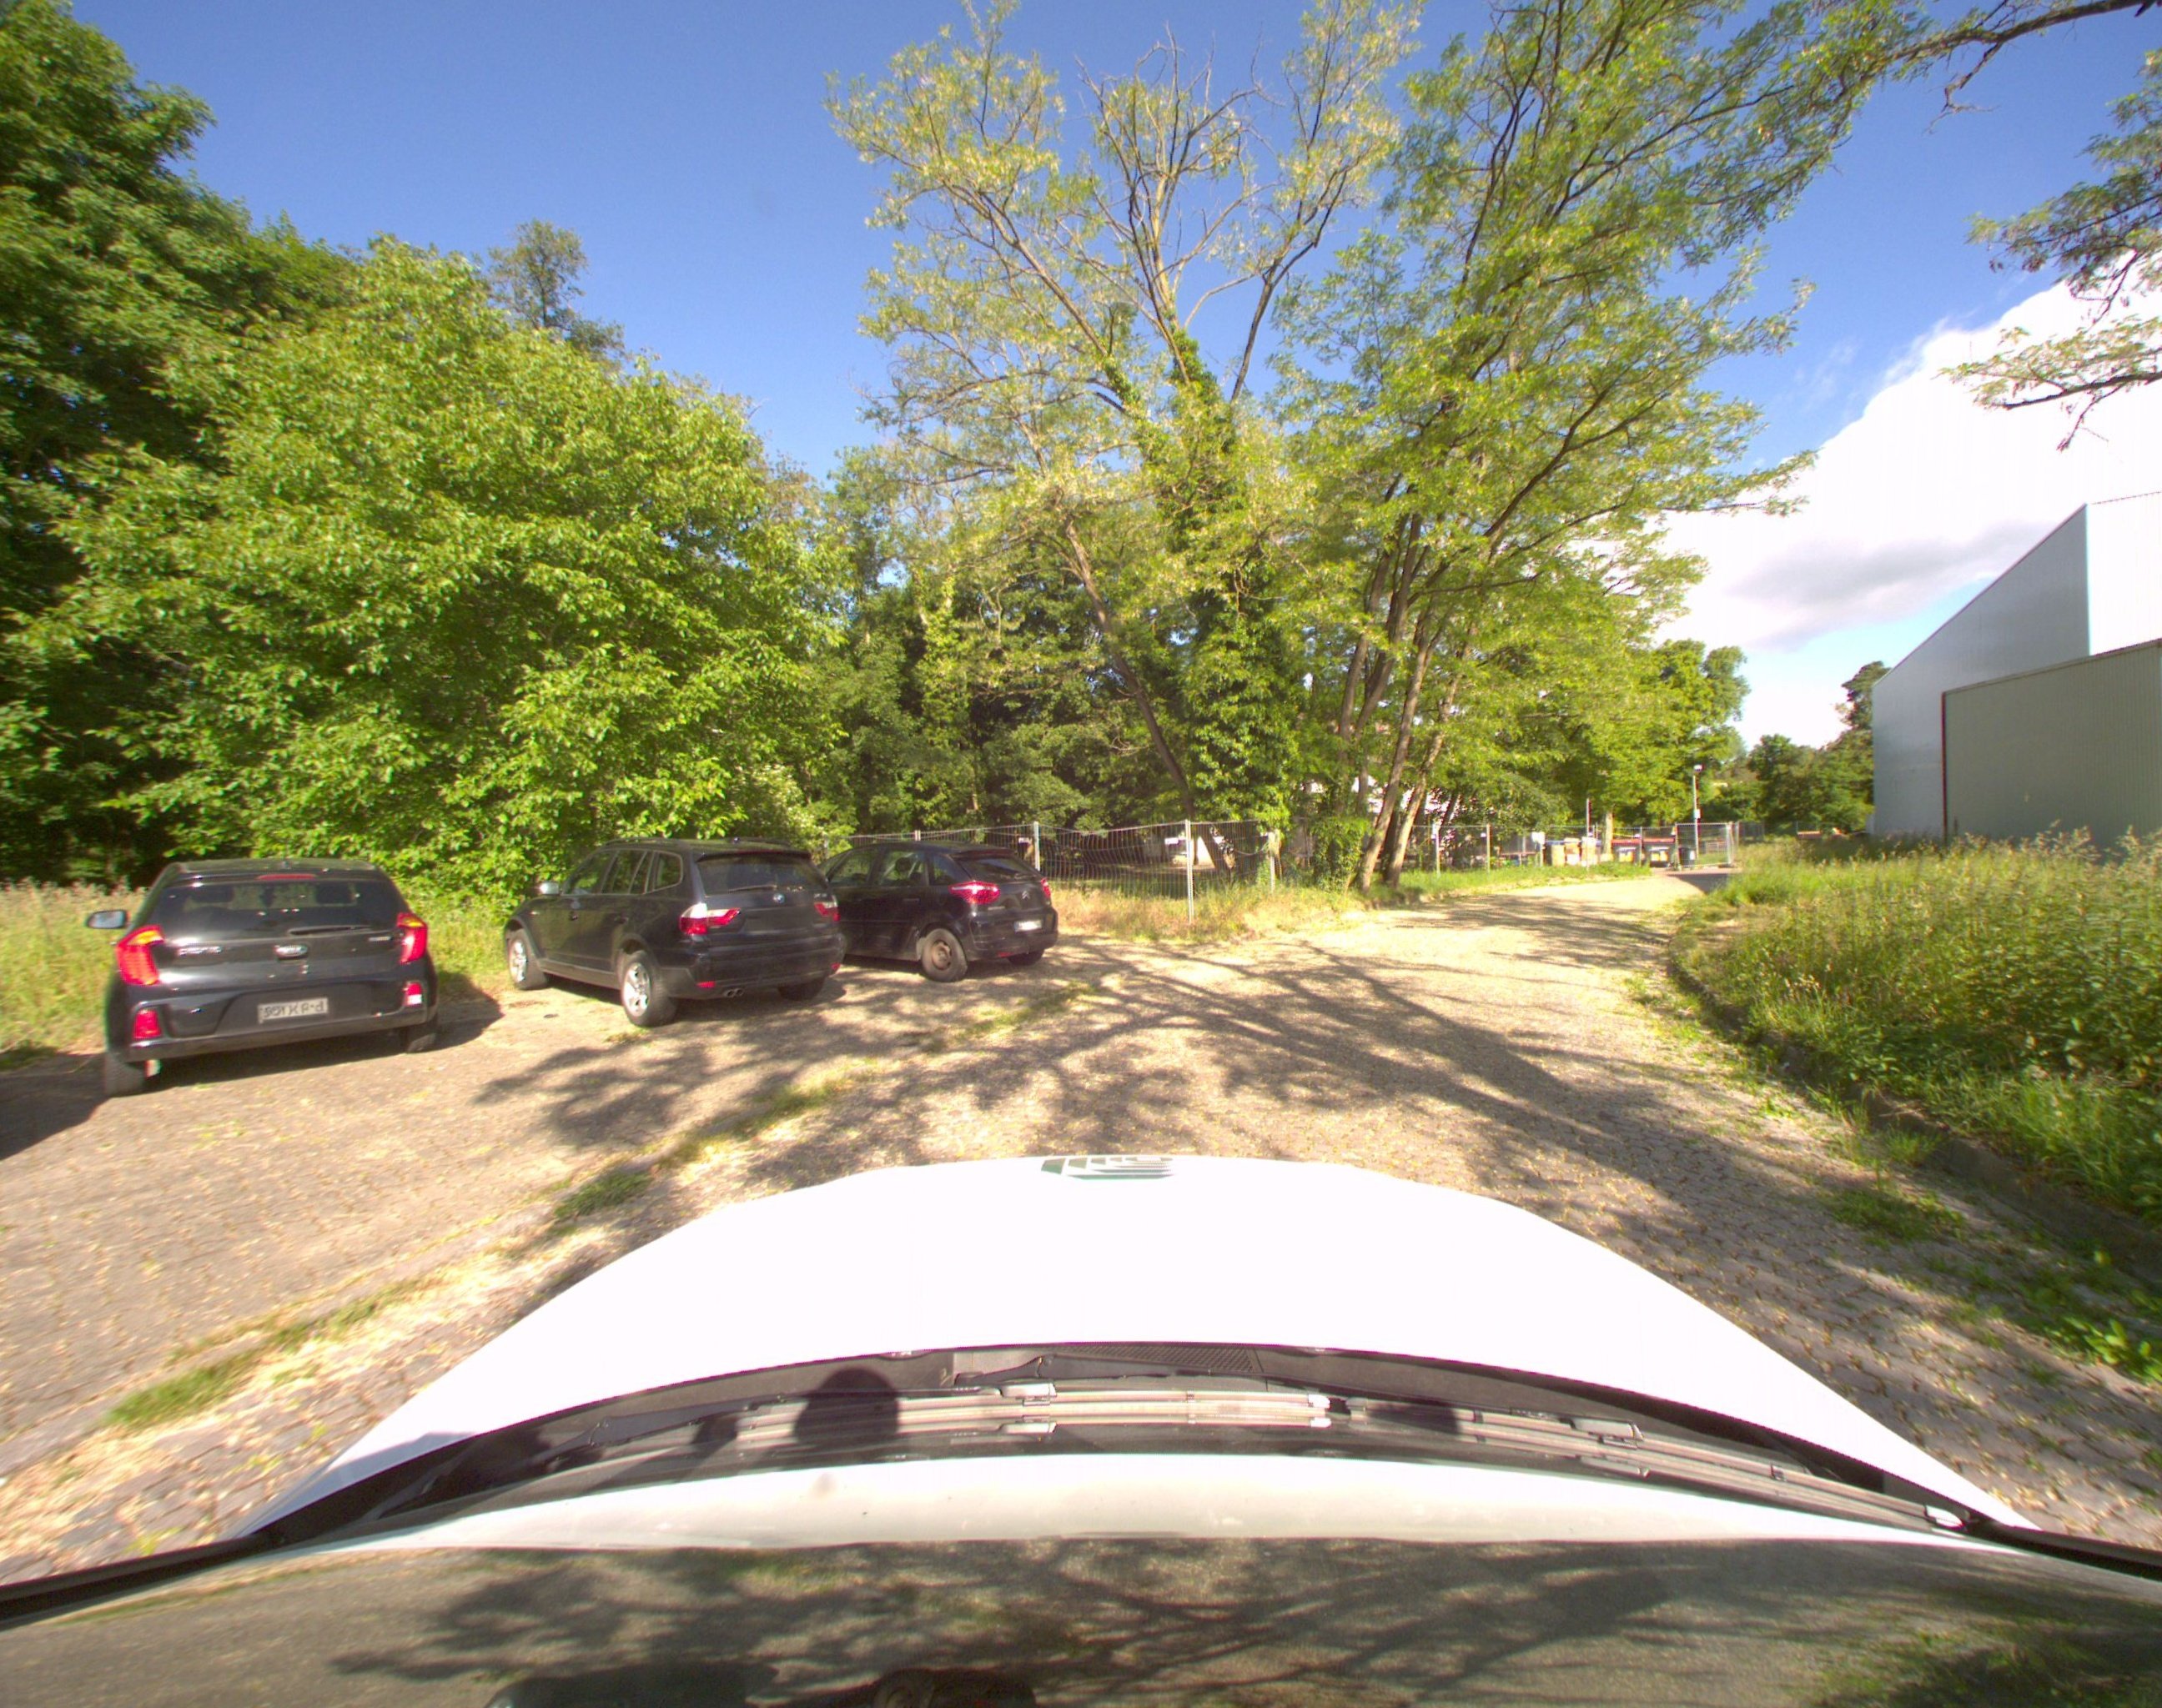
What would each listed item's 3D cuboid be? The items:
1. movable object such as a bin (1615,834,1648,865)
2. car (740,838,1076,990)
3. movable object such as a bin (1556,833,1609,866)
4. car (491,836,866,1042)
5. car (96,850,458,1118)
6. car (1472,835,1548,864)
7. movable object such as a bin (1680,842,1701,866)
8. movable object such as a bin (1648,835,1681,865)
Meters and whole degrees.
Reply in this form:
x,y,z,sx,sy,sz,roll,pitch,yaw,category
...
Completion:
x,y,z,sx,sy,sz,roll,pitch,yaw,category
27.384,-0.210,40.531,1.324,1.484,0.812,-1,0,31,movable object such as a bin
-2.363,0.632,10.898,4.246,1.652,1.804,1,2,29,car
25.578,-0.231,41.545,2.266,1.591,1.182,-1,0,32,movable object such as a bin
-4.335,0.652,8.543,4.136,1.656,1.829,1,1,37,car
-6.436,0.753,6.546,3.507,1.516,1.688,1,0,43,car
31.131,-0.291,59.118,4.664,1.902,2.013,-3,-1,33,car
29.209,0.004,39.005,0.729,1.097,0.824,-1,0,41,movable object such as a bin
28.387,-0.202,39.638,1.232,1.444,0.707,-1,0,32,movable object such as a bin
